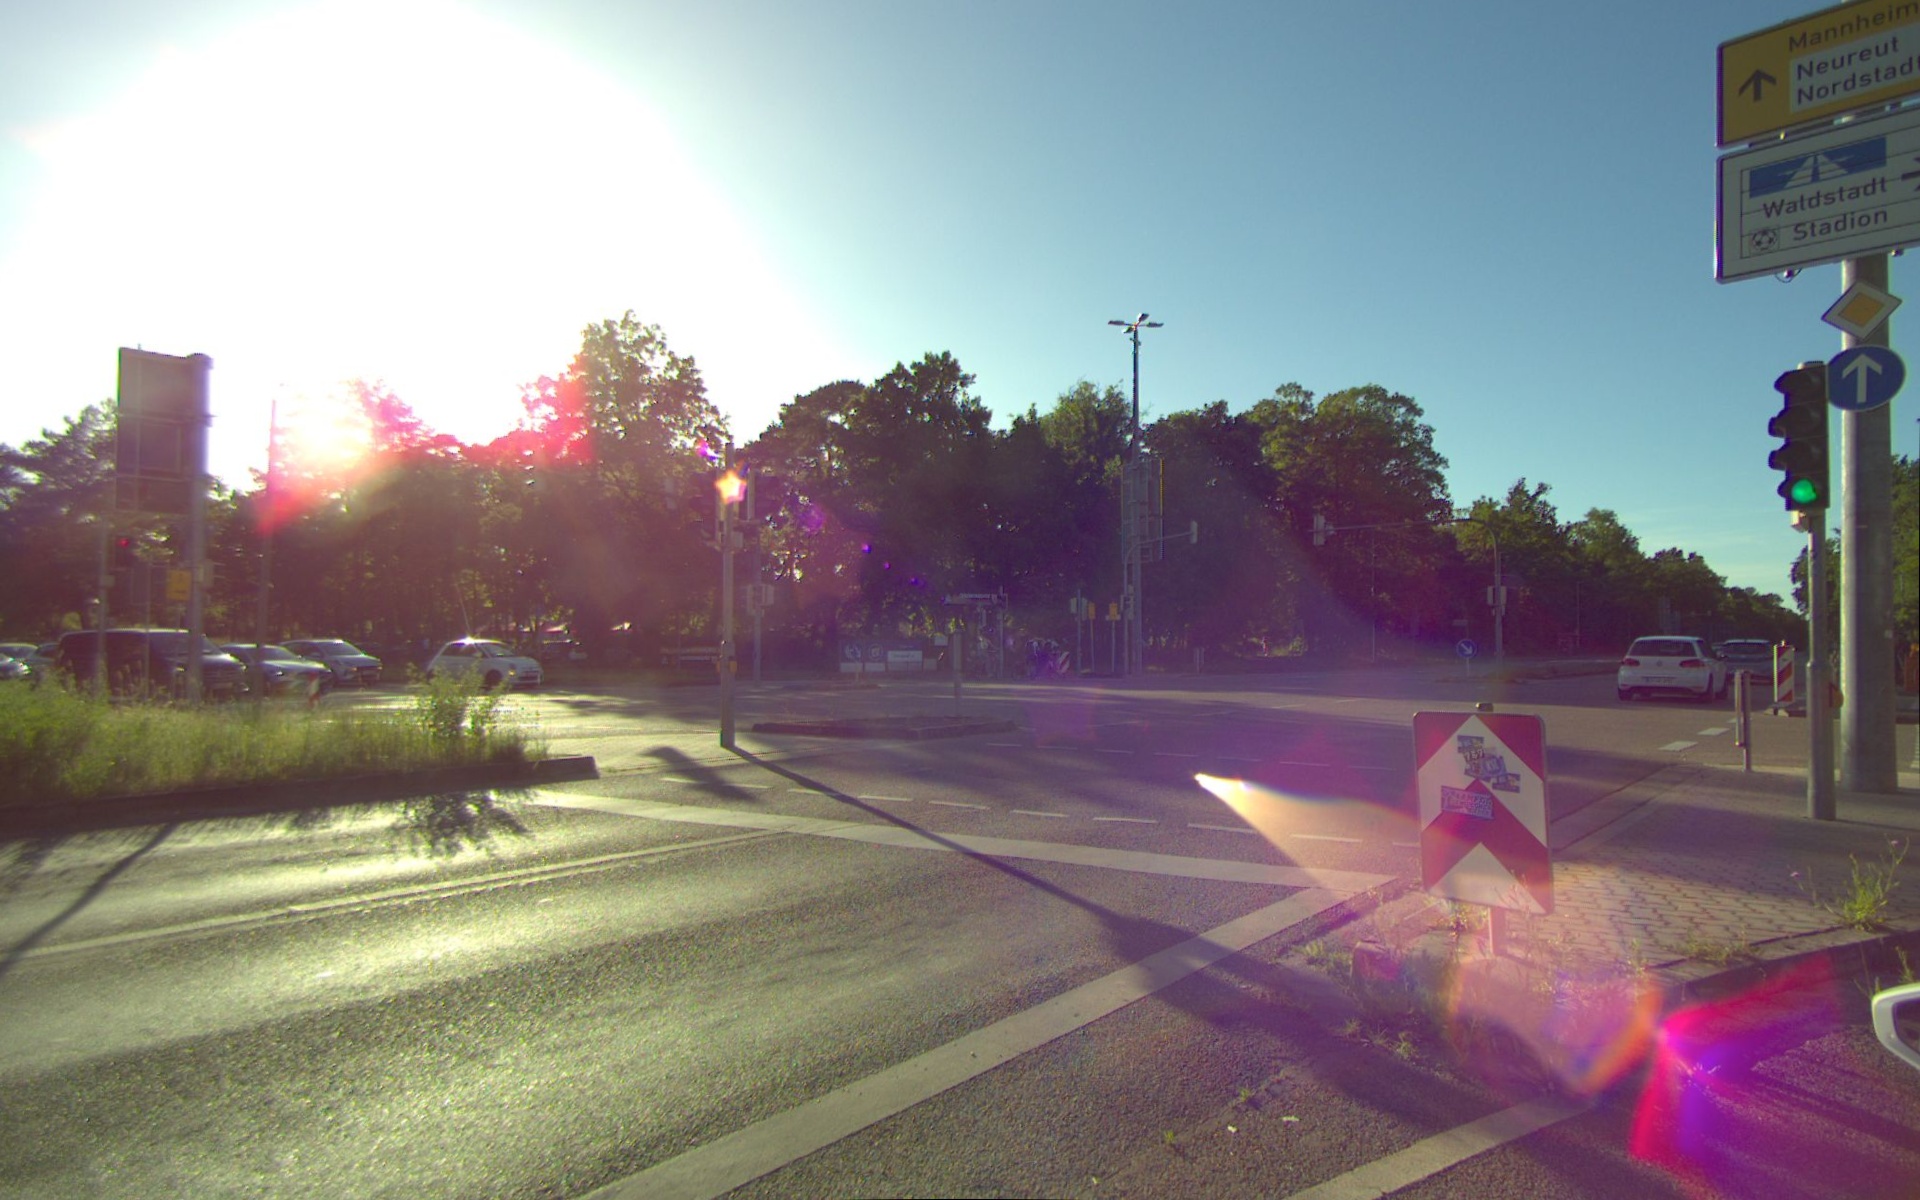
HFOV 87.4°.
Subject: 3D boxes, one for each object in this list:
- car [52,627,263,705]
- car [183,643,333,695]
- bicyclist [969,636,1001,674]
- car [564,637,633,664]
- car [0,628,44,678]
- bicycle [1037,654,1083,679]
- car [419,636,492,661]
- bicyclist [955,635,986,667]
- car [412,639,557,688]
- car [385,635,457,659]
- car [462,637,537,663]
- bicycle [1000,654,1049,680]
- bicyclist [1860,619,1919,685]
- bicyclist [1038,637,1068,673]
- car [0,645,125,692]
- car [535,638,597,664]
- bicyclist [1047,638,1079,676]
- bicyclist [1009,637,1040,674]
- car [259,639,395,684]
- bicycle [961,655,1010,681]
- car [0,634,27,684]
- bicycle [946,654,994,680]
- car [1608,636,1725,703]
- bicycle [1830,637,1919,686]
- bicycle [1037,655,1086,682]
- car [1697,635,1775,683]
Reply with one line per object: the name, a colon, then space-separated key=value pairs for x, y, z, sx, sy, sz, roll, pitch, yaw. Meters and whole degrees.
car: x=-20.665 y=1.647 z=25.880 sx=4.836 sy=1.854 sz=1.929 roll=-1 pitch=-2 yaw=19
car: x=-20.153 y=1.950 z=28.867 sx=3.724 sy=1.407 sz=1.648 roll=-1 pitch=-2 yaw=19
bicyclist: x=0.953 y=2.064 z=37.974 sx=0.983 sy=1.408 sz=0.704 roll=2 pitch=-2 yaw=-42
car: x=-22.692 y=3.147 z=63.209 sx=1.779 sy=1.620 sz=4.196 roll=0 pitch=-2 yaw=22
car: x=-36.491 y=1.956 z=37.479 sx=3.724 sy=1.782 sz=1.855 roll=0 pitch=-2 yaw=19
bicycle: x=3.921 y=2.568 z=39.142 sx=1.897 sy=0.926 sz=0.708 roll=2 pitch=-3 yaw=-43
car: x=-33.240 y=3.186 z=66.321 sx=1.782 sy=1.620 sz=3.963 roll=-1 pitch=-2 yaw=31
bicyclist: x=0.401 y=1.969 z=38.694 sx=0.983 sy=1.208 sz=0.708 roll=2 pitch=-3 yaw=-42
car: x=-14.572 y=1.921 z=30.803 sx=3.724 sy=1.407 sz=1.929 roll=-1 pitch=-2 yaw=19
car: x=-36.968 y=3.212 z=68.951 sx=1.782 sy=1.620 sz=3.963 roll=-1 pitch=-2 yaw=31
car: x=-29.893 y=3.225 z=65.310 sx=1.782 sy=1.620 sz=4.142 roll=-1 pitch=-2 yaw=31
bicycle: x=2.430 y=2.510 z=37.696 sx=1.897 sy=0.926 sz=0.708 roll=2 pitch=-3 yaw=-43
bicyclist: x=28.195 y=1.568 z=30.447 sx=0.995 sy=1.955 sz=0.969 roll=1 pitch=-1 yaw=13
bicyclist: x=3.589 y=2.108 z=38.845 sx=0.983 sy=1.360 sz=0.708 roll=2 pitch=-3 yaw=-42
car: x=-28.903 y=2.136 z=32.005 sx=3.724 sy=1.407 sz=1.855 roll=-1 pitch=-2 yaw=19
car: x=-25.072 y=3.208 z=64.053 sx=1.779 sy=1.620 sz=3.501 roll=0 pitch=-2 yaw=22
bicyclist: x=3.733 y=2.062 z=36.368 sx=0.983 sy=1.356 sz=0.708 roll=2 pitch=-3 yaw=-42
bicyclist: x=2.429 y=2.071 z=37.705 sx=0.983 sy=1.373 sz=0.708 roll=2 pitch=-2 yaw=-42
car: x=-20.932 y=2.017 z=33.235 sx=3.724 sy=1.407 sz=1.855 roll=-1 pitch=-2 yaw=19
bicycle: x=0.979 y=2.553 z=37.980 sx=1.897 sy=0.926 sz=0.708 roll=2 pitch=-3 yaw=-43
car: x=-28.684 y=1.660 z=28.376 sx=3.724 sy=1.407 sz=1.855 roll=-1 pitch=-2 yaw=19
bicycle: x=0.400 y=2.569 z=38.675 sx=1.897 sy=0.926 sz=0.708 roll=1 pitch=-2 yaw=-43
car: x=16.729 y=1.578 z=23.715 sx=1.917 sy=1.433 sz=3.981 roll=-2 pitch=-3 yaw=40
bicycle: x=28.179 y=1.869 z=30.439 sx=2.586 sy=1.401 sz=0.969 roll=1 pitch=-1 yaw=13
bicycle: x=3.686 y=2.459 z=36.319 sx=1.897 sy=0.926 sz=0.708 roll=2 pitch=-3 yaw=-43
car: x=26.941 y=2.016 z=34.825 sx=1.970 sy=1.556 sz=3.981 roll=-1 pitch=-3 yaw=40
